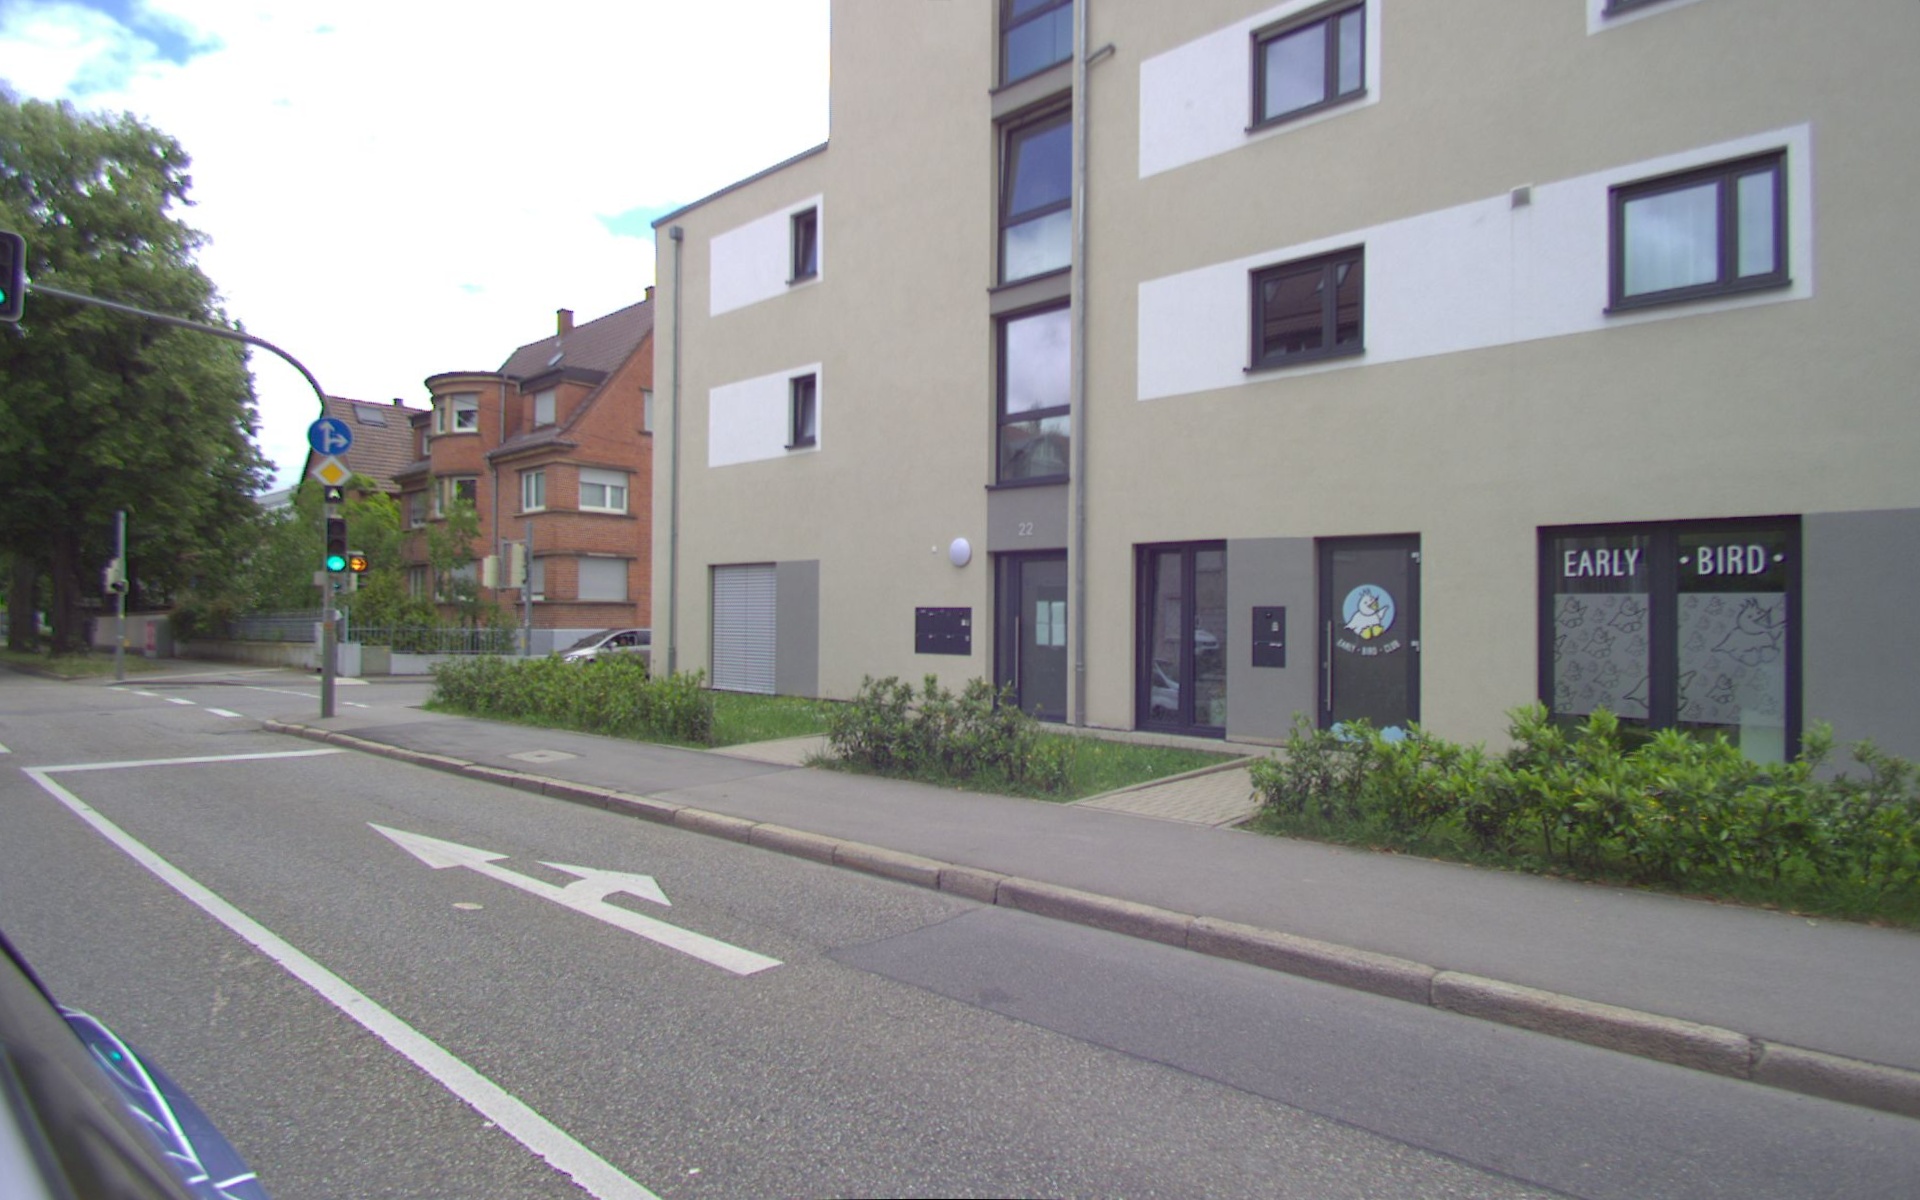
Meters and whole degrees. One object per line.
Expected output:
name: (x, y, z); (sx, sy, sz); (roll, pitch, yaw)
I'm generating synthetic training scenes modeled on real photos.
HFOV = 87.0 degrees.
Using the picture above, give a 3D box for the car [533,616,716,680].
car: (-9.755, 1.338, 29.738); (2.171, 1.697, 4.756); (-1, -1, 36)
